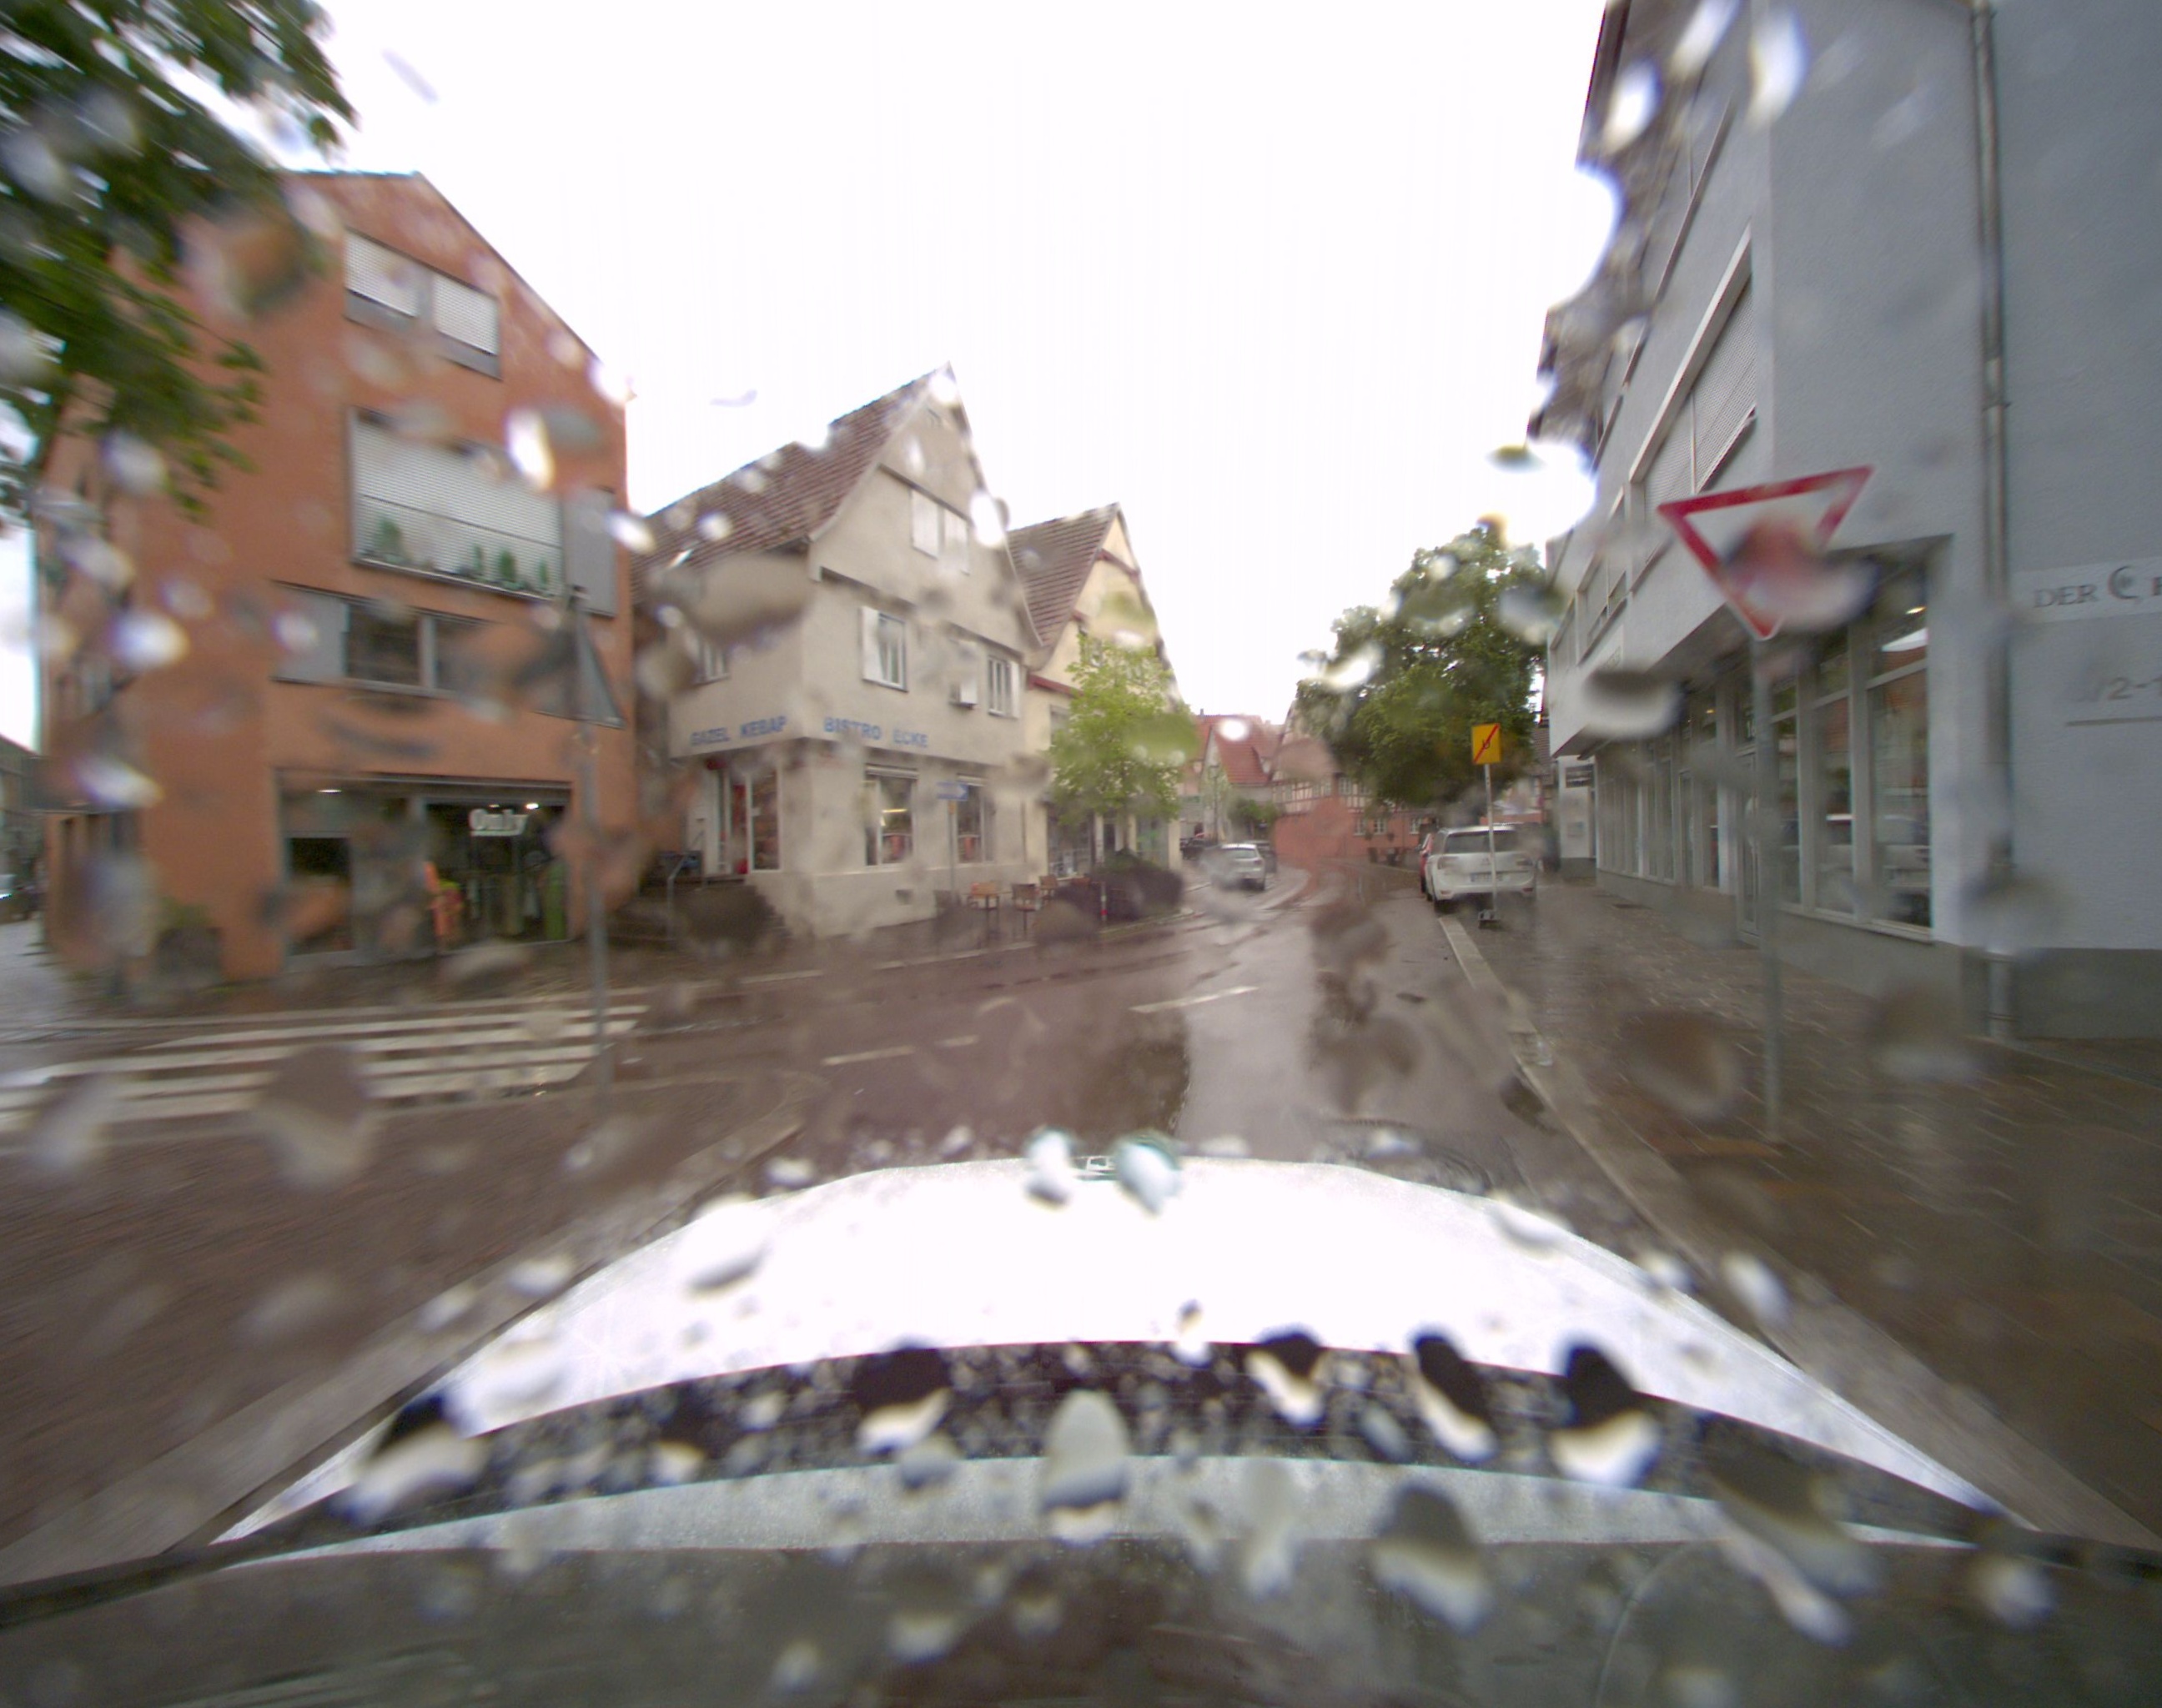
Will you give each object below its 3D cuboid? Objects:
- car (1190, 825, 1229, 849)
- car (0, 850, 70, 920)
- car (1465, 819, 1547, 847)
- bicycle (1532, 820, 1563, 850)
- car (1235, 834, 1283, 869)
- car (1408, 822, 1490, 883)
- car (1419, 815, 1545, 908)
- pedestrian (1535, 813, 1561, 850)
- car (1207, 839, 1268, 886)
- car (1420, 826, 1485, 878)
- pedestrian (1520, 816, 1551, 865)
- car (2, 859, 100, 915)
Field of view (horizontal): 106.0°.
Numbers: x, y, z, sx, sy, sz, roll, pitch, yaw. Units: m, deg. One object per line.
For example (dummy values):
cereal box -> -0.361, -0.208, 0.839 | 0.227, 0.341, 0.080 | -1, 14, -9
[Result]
car -> 10.102, -1.343, 64.322 | 1.893, 1.811, 3.989 | 0, 1, -8
car -> -37.459, 1.069, 28.433 | 5.885, 2.299, 2.224 | -1, -1, 43
car -> 28.148, -1.428, 54.012 | 4.604, 1.633, 1.992 | -3, 3, -12
bicycle -> 21.857, -0.902, 38.111 | 0.916, 1.350, 2.230 | -3, 0, 37
car -> 8.327, -0.079, 38.472 | 1.865, 1.540, 4.410 | -1, -1, 8
car -> 9.771, -0.019, 21.882 | 1.772, 1.468, 3.970 | -1, -1, 21
car -> 8.094, 0.164, 16.811 | 1.773, 1.639, 4.461 | -1, -1, 19
pedestrian -> 21.896, -1.050, 38.175 | 0.901, 1.698, 0.867 | -3, -1, 37
car -> 5.361, 0.243, 27.549 | 1.836, 1.452, 4.087 | -1, 0, 13
car -> 12.408, -0.091, 27.411 | 1.772, 1.555, 3.971 | -2, 0, 22
pedestrian -> 16.230, -0.468, 29.058 | 0.876, 1.713, 0.895 | -1, -1, 33
car -> -46.357, 1.433, 36.797 | 5.885, 2.299, 2.224 | -1, -1, 43
